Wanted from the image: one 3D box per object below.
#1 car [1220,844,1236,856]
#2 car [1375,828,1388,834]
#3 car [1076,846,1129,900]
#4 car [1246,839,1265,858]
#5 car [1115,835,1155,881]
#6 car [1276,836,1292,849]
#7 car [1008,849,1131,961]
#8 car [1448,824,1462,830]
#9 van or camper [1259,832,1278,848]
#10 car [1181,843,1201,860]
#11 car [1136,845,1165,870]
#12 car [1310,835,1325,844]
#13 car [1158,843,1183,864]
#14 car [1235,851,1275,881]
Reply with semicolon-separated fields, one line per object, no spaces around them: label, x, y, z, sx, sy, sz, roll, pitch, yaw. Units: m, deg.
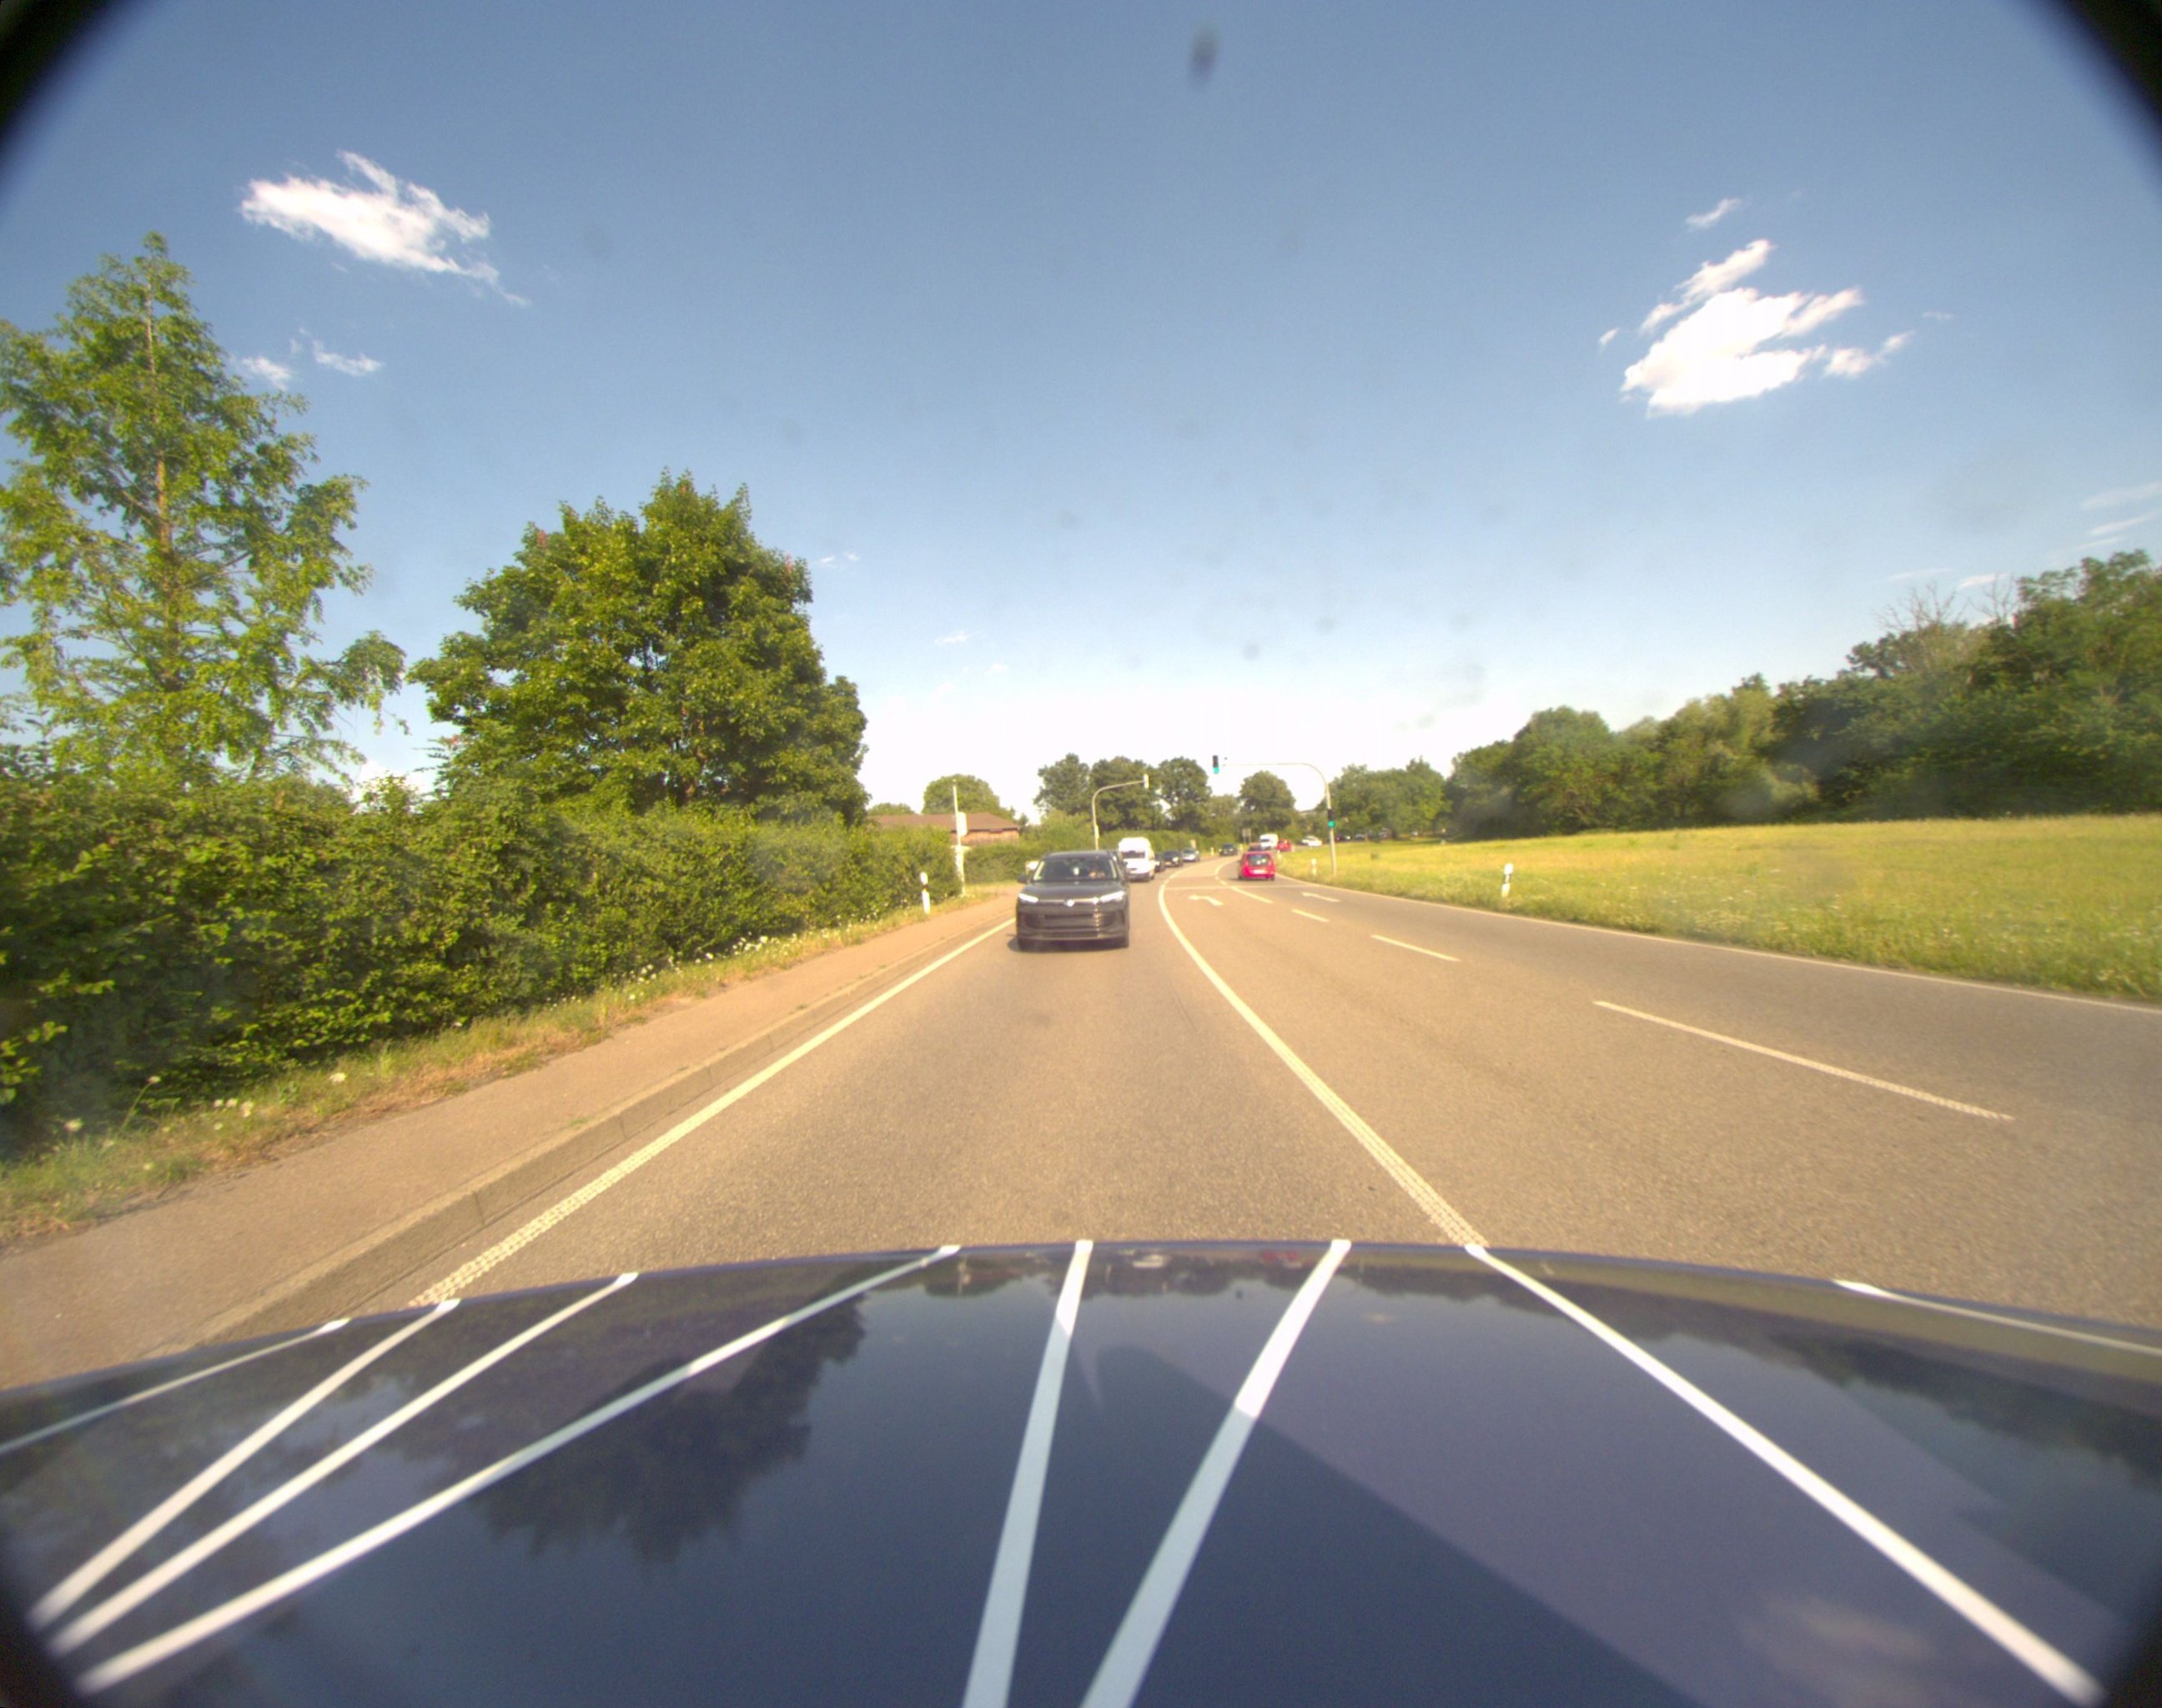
car;19.582;-0.561;101.070;1.605;1.471;3.621;0;1;19
car;71.629;-5.528;181.032;1.746;1.458;3.486;0;2;40
car;0.804;0.617;26.452;1.659;1.720;3.805;-1;0;4
car;17.510;-0.534;76.213;1.727;1.871;4.340;-1;0;14
car;3.004;0.156;41.169;1.843;2.338;4.791;-1;1;7
car;30.571;-1.729;114.431;1.882;1.765;4.328;-1;0;22
car;-0.093;0.785;13.709;1.865;1.633;4.000;-1;1;2
car;102.364;-7.379;207.812;4.081;1.577;1.928;-2;2;-38
van or camper;31.622;-2.431;128.036;2.031;2.461;5.085;-4;0;25
car;11.326;-0.250;78.380;1.633;1.550;3.419;-1;2;14
car;5.011;0.239;54.608;1.692;1.718;3.671;-1;1;12
car;43.780;-2.753;140.774;1.881;1.577;4.338;-1;0;28
car;7.674;-0.056;65.166;1.672;1.718;3.671;-1;2;14
car;8.916;0.574;39.220;1.588;1.458;3.609;-1;0;7
